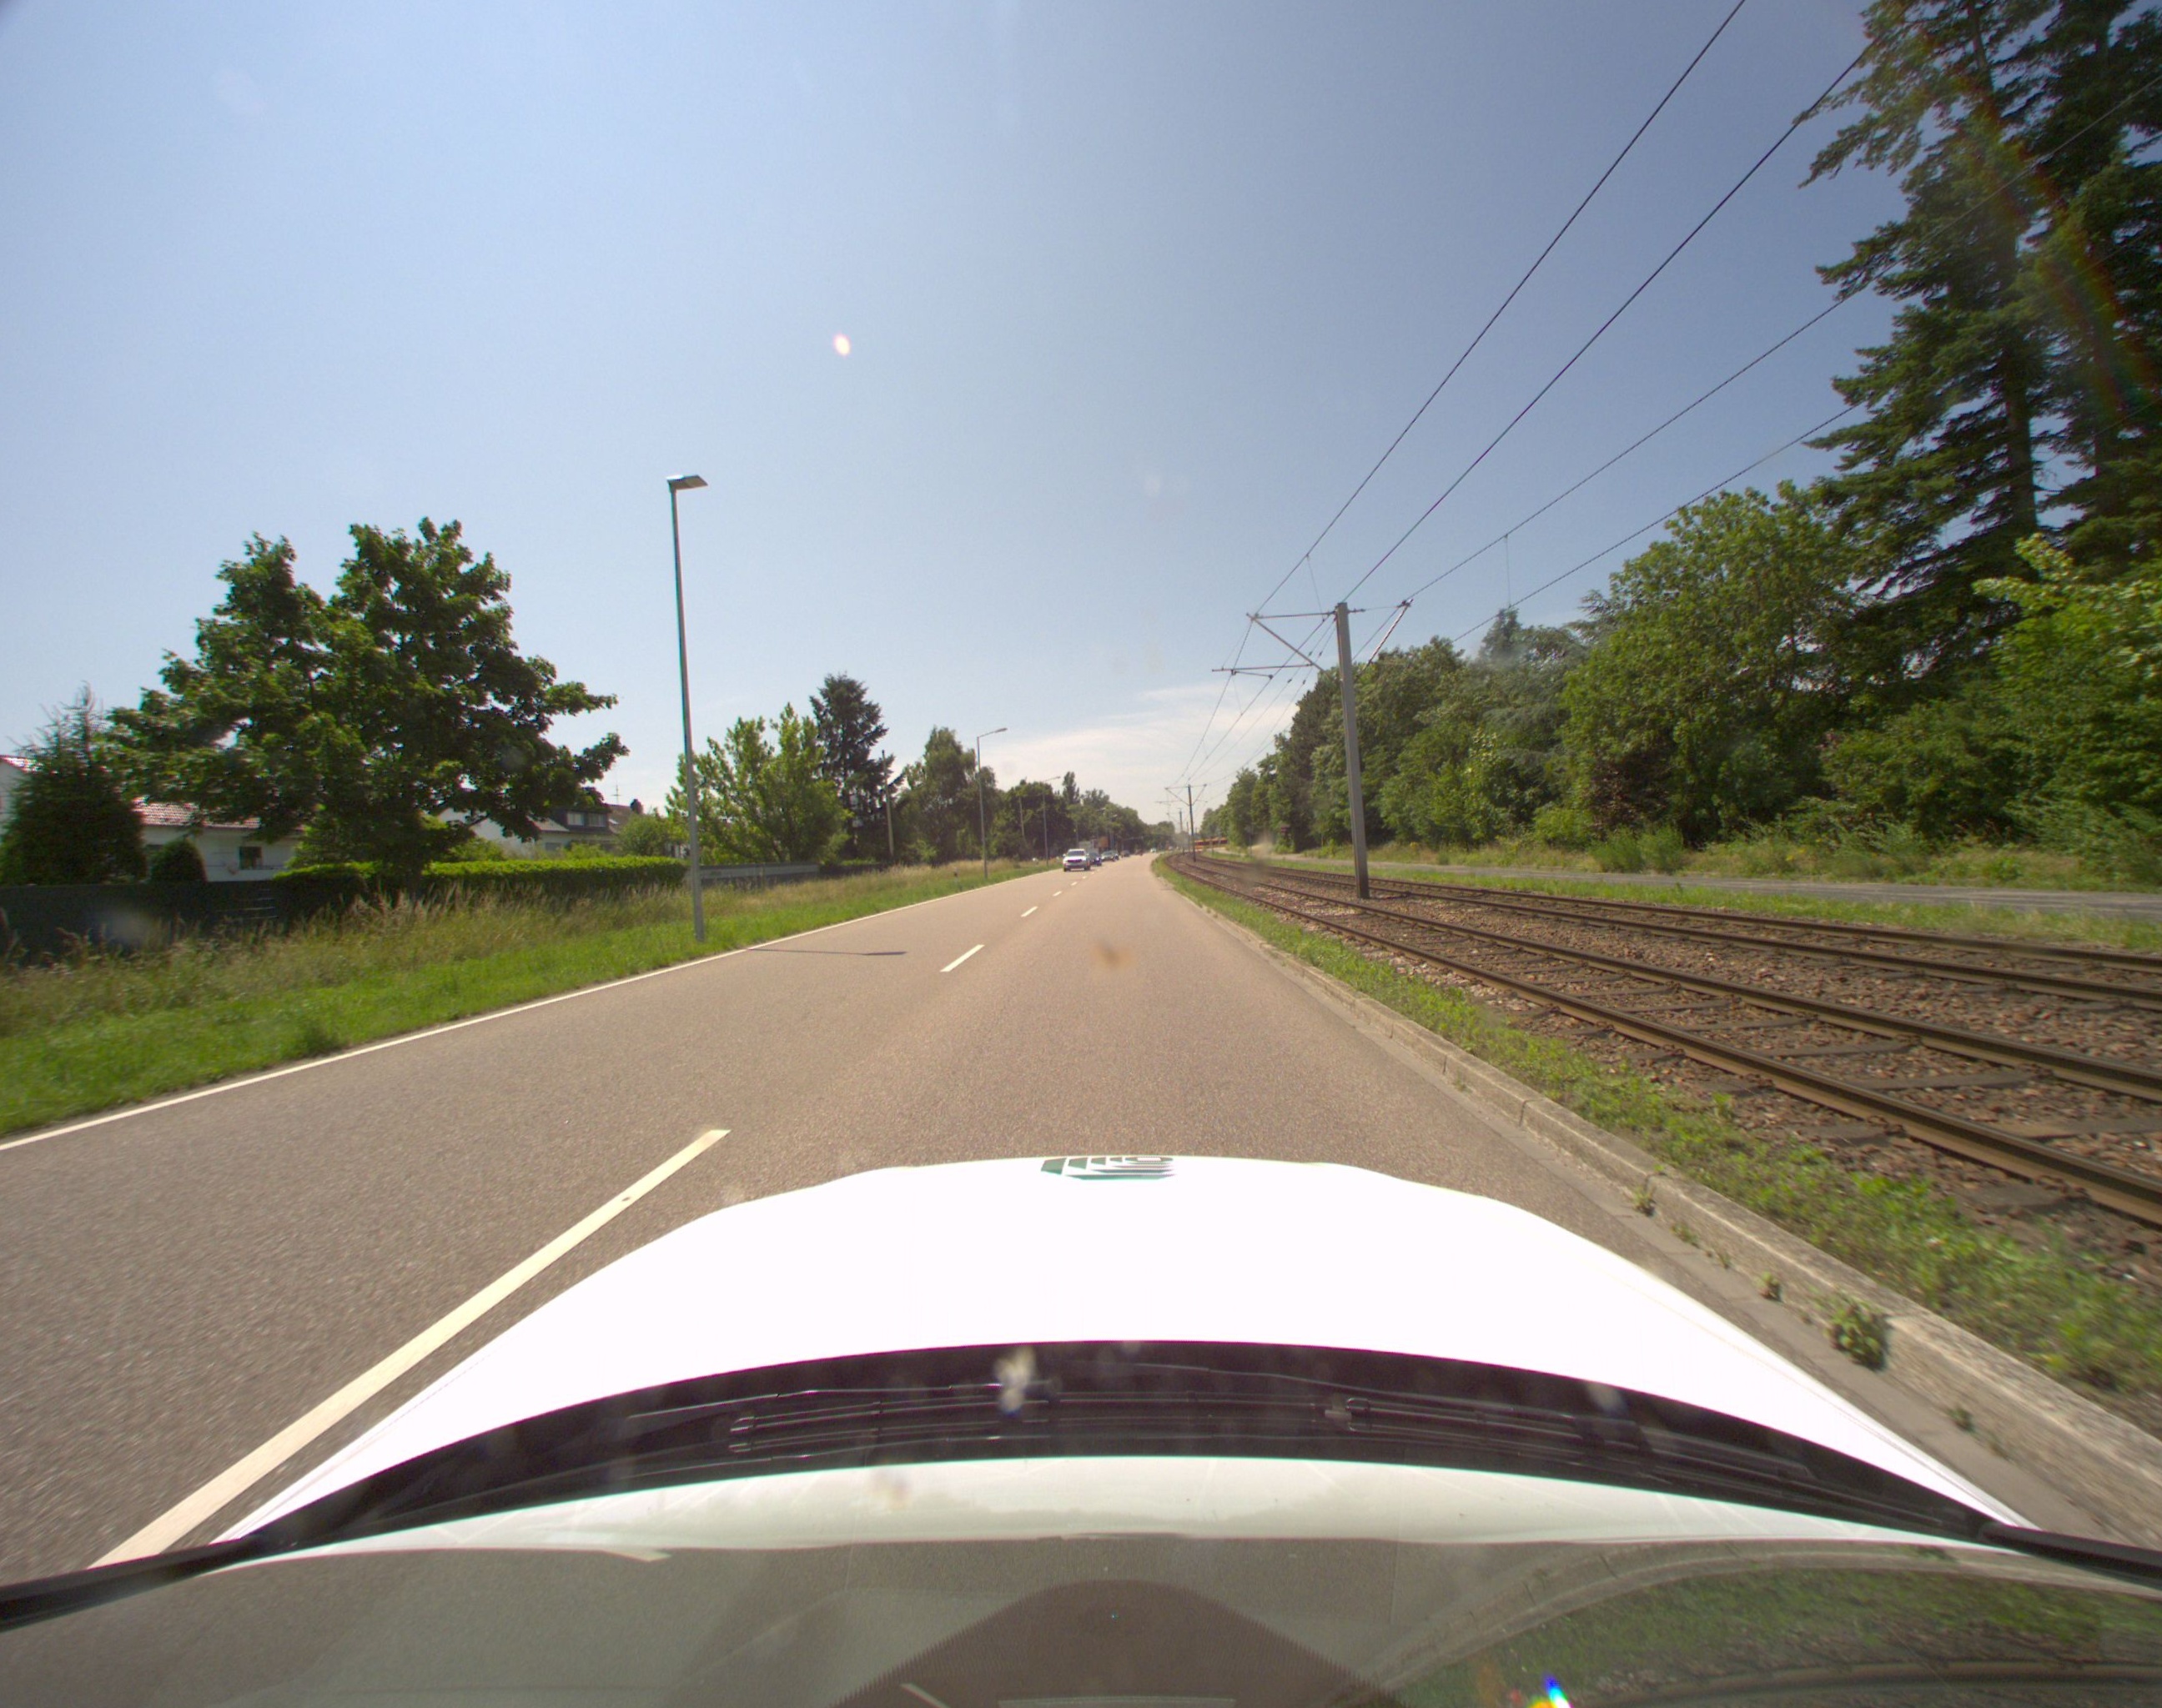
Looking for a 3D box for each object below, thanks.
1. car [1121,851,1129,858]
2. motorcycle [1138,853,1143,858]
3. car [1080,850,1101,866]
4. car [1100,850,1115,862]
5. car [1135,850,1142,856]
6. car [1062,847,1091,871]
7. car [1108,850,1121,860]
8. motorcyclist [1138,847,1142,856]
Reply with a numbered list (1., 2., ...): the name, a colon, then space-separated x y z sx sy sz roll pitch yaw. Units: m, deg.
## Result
1. car: 9.269 0.068 173.039 1.620 1.490 4.367 -3 0 3
2. motorcycle: 13.104 0.262 179.516 0.965 1.117 2.736 -3 0 5
3. car: 1.013 0.365 83.176 1.810 1.528 4.367 -3 0 3
4. car: 3.701 0.256 112.282 1.810 1.493 4.367 -3 0 3
5. car: 16.319 -0.320 231.302 1.618 1.395 4.372 -3 0 7
6. car: -0.339 0.385 65.794 1.927 1.796 4.716 -3 0 3
7. car: 5.335 0.159 129.100 1.810 1.538 4.367 -3 0 3
8. motorcyclist: 12.998 -0.499 179.383 0.887 1.905 1.017 -3 0 4
